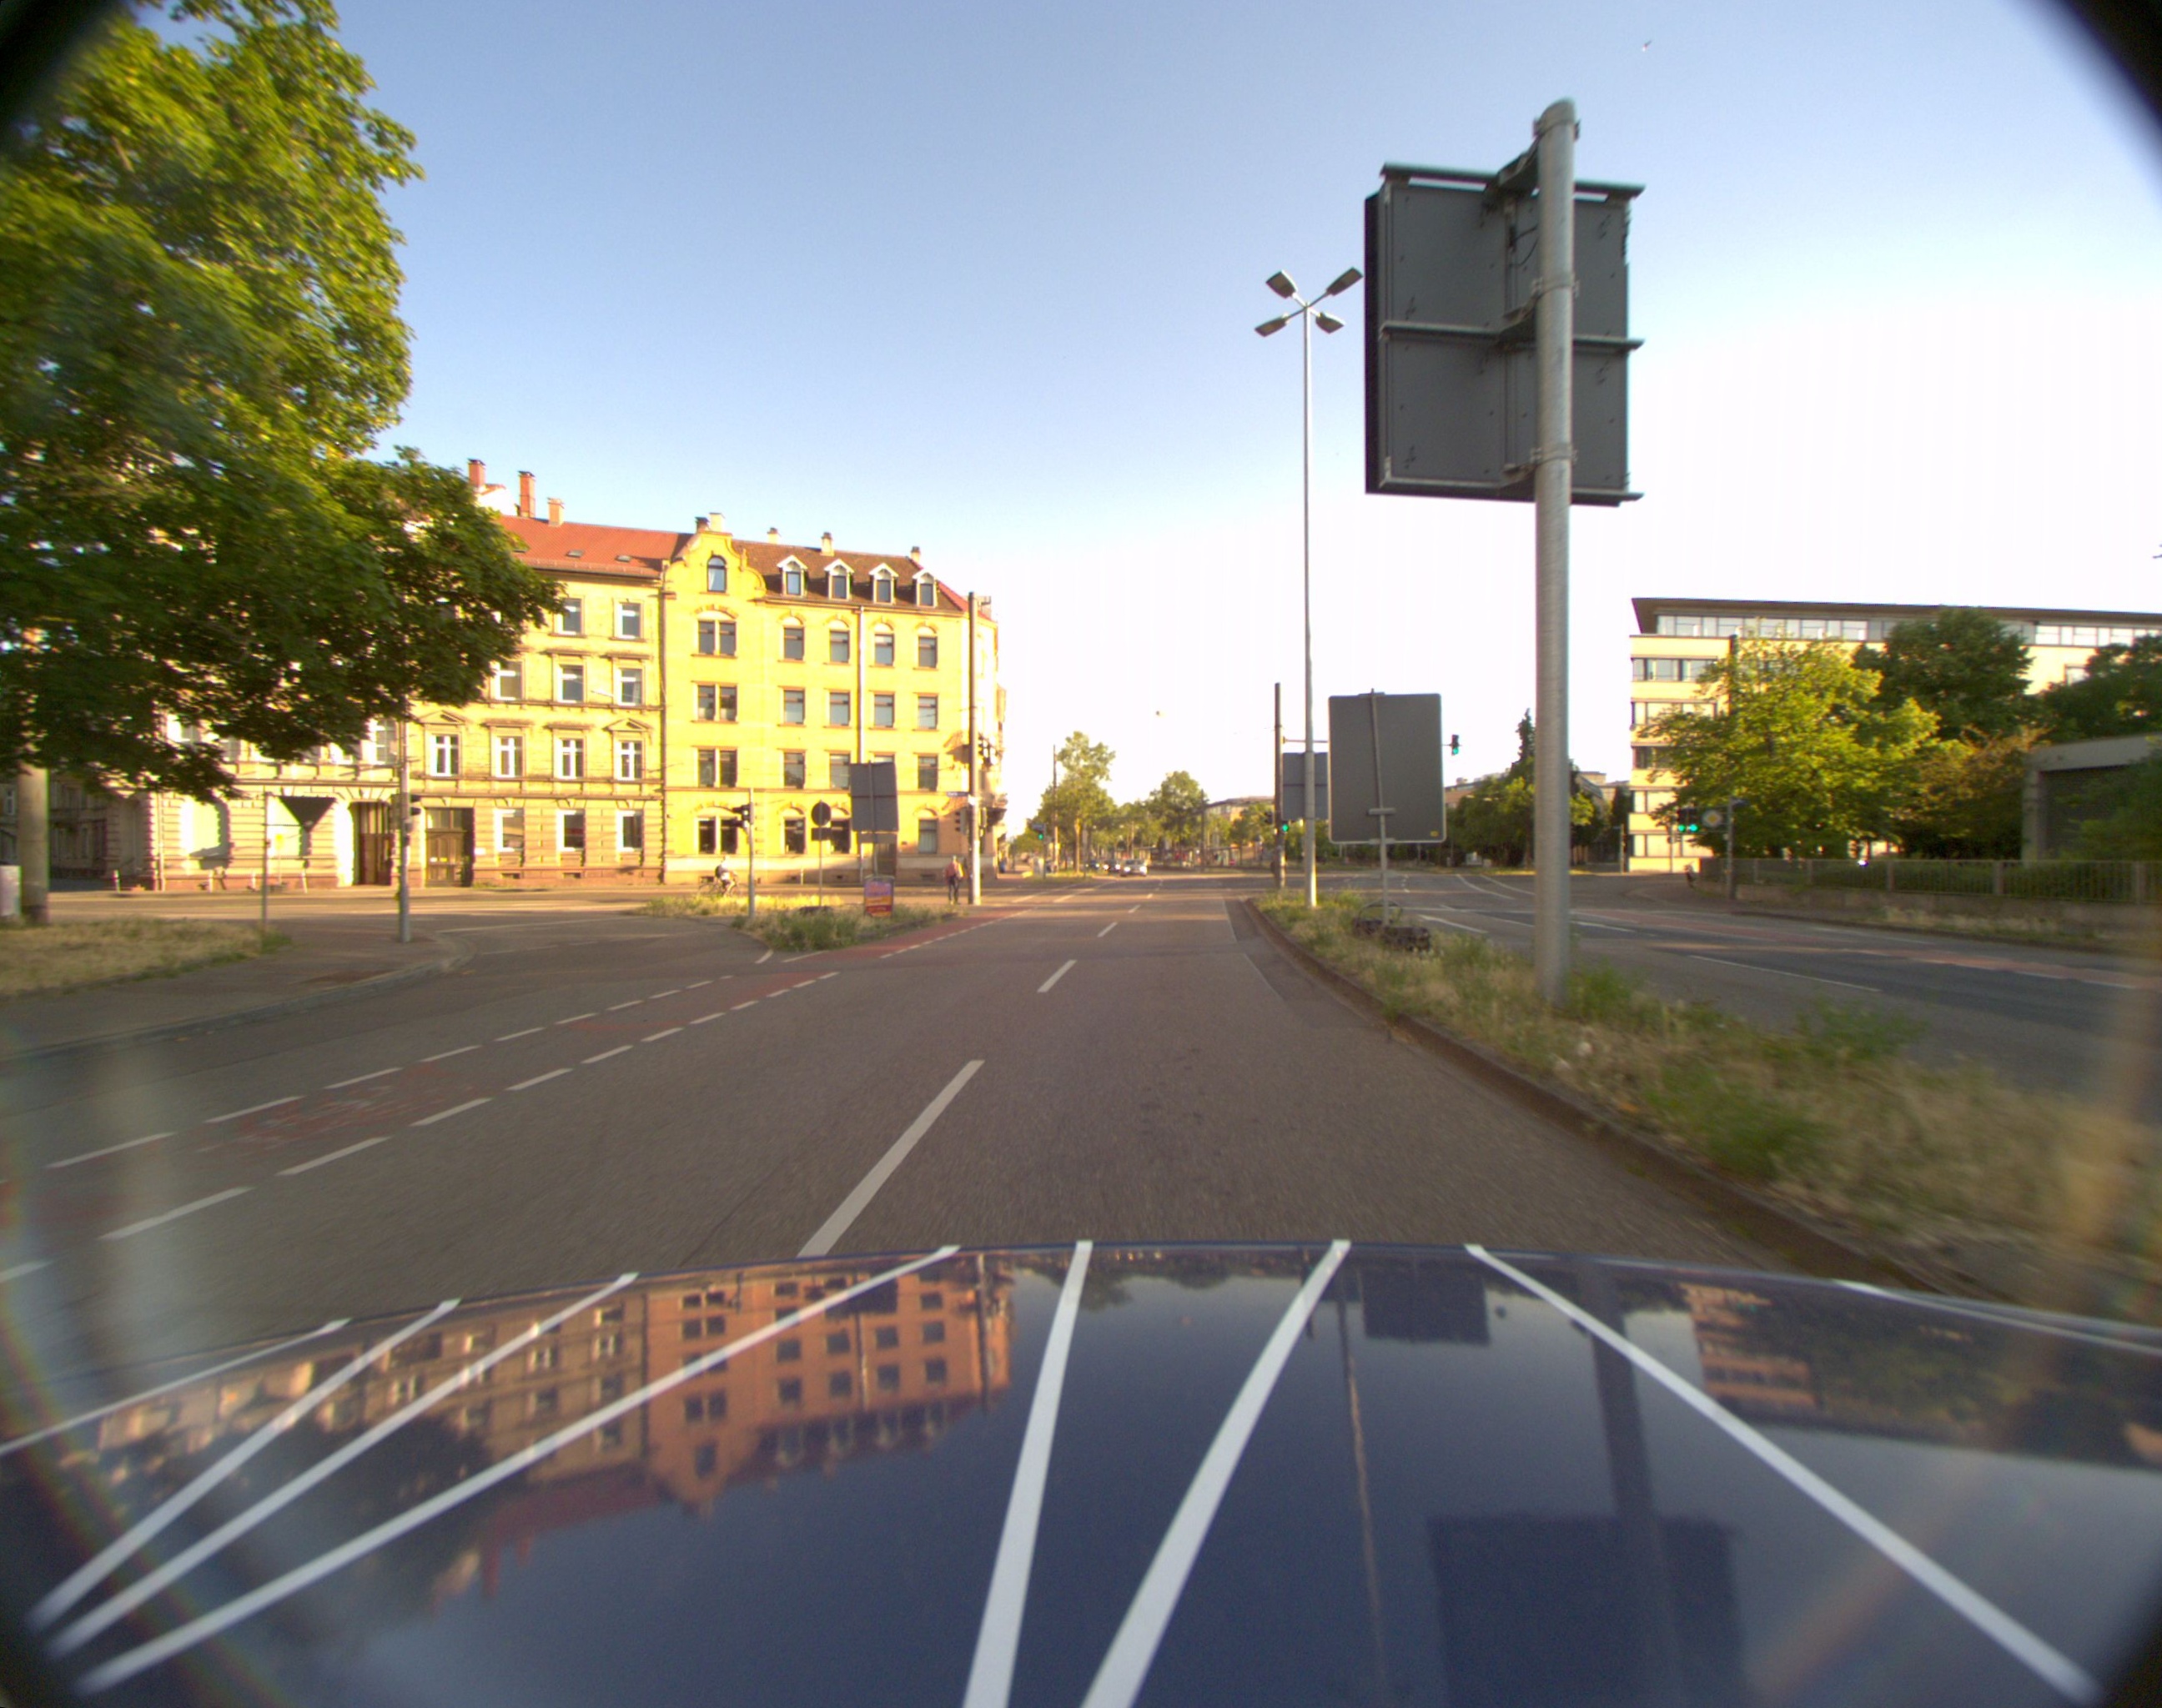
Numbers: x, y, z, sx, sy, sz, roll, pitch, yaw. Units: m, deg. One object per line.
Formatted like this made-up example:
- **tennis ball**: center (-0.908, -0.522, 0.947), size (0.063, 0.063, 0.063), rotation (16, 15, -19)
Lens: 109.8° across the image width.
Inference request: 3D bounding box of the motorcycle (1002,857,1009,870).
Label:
- **motorcycle**: center (-7.059, 0.868, 71.111), size (0.555, 1.207, 2.071), rotation (-2, 1, -7)

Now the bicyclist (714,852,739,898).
- **bicyclist**: center (-12.480, 0.737, 26.759), size (0.696, 1.574, 0.636), rotation (0, 1, -14)

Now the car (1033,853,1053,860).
- **car**: center (-8.895, 0.535, 176.860), size (4.421, 1.681, 1.920), rotation (-1, 0, 30)

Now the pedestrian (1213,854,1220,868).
- **pedestrian**: center (18.743, 0.965, 105.190), size (0.772, 2.002, 1.127), rotation (-1, 1, -3)

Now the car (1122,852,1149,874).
- **car**: center (4.391, 0.698, 61.955), size (1.998, 1.655, 4.000), rotation (0, 0, 2)

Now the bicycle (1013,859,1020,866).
- **bicycle**: center (-8.558, 1.166, 100.298), size (0.874, 0.910, 2.084), rotation (1, 0, -4)

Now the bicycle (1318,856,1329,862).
- **bicycle**: center (34.733, 0.672, 108.785), size (0.776, 0.816, 1.965), rotation (-1, 0, -3)

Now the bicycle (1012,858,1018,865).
- **bicycle**: center (-8.927, 1.034, 102.828), size (0.735, 0.942, 2.339), rotation (1, 0, -2)

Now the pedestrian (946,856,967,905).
- **pedestrian**: center (-4.206, 0.883, 25.652), size (0.553, 1.619, 0.700), rotation (0, 1, 4)

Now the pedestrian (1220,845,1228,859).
- **pedestrian**: center (19.712, -0.295, 104.590), size (0.772, 2.002, 1.127), rotation (-1, 1, -3)

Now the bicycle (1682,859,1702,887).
- **bicycle**: center (26.615, 0.816, 33.080), size (0.557, 1.136, 1.726), rotation (0, 0, 43)

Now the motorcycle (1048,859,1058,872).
- **motorcycle**: center (-2.192, 0.896, 59.767), size (0.606, 1.038, 1.744), rotation (-1, 0, 1)

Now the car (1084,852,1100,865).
- **car**: center (1.462, 0.580, 100.464), size (1.998, 1.655, 4.000), rotation (0, 0, 2)

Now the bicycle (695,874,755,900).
- **bicycle**: center (-12.509, 1.154, 26.769), size (1.816, 0.824, 0.621), rotation (0, 1, -14)
